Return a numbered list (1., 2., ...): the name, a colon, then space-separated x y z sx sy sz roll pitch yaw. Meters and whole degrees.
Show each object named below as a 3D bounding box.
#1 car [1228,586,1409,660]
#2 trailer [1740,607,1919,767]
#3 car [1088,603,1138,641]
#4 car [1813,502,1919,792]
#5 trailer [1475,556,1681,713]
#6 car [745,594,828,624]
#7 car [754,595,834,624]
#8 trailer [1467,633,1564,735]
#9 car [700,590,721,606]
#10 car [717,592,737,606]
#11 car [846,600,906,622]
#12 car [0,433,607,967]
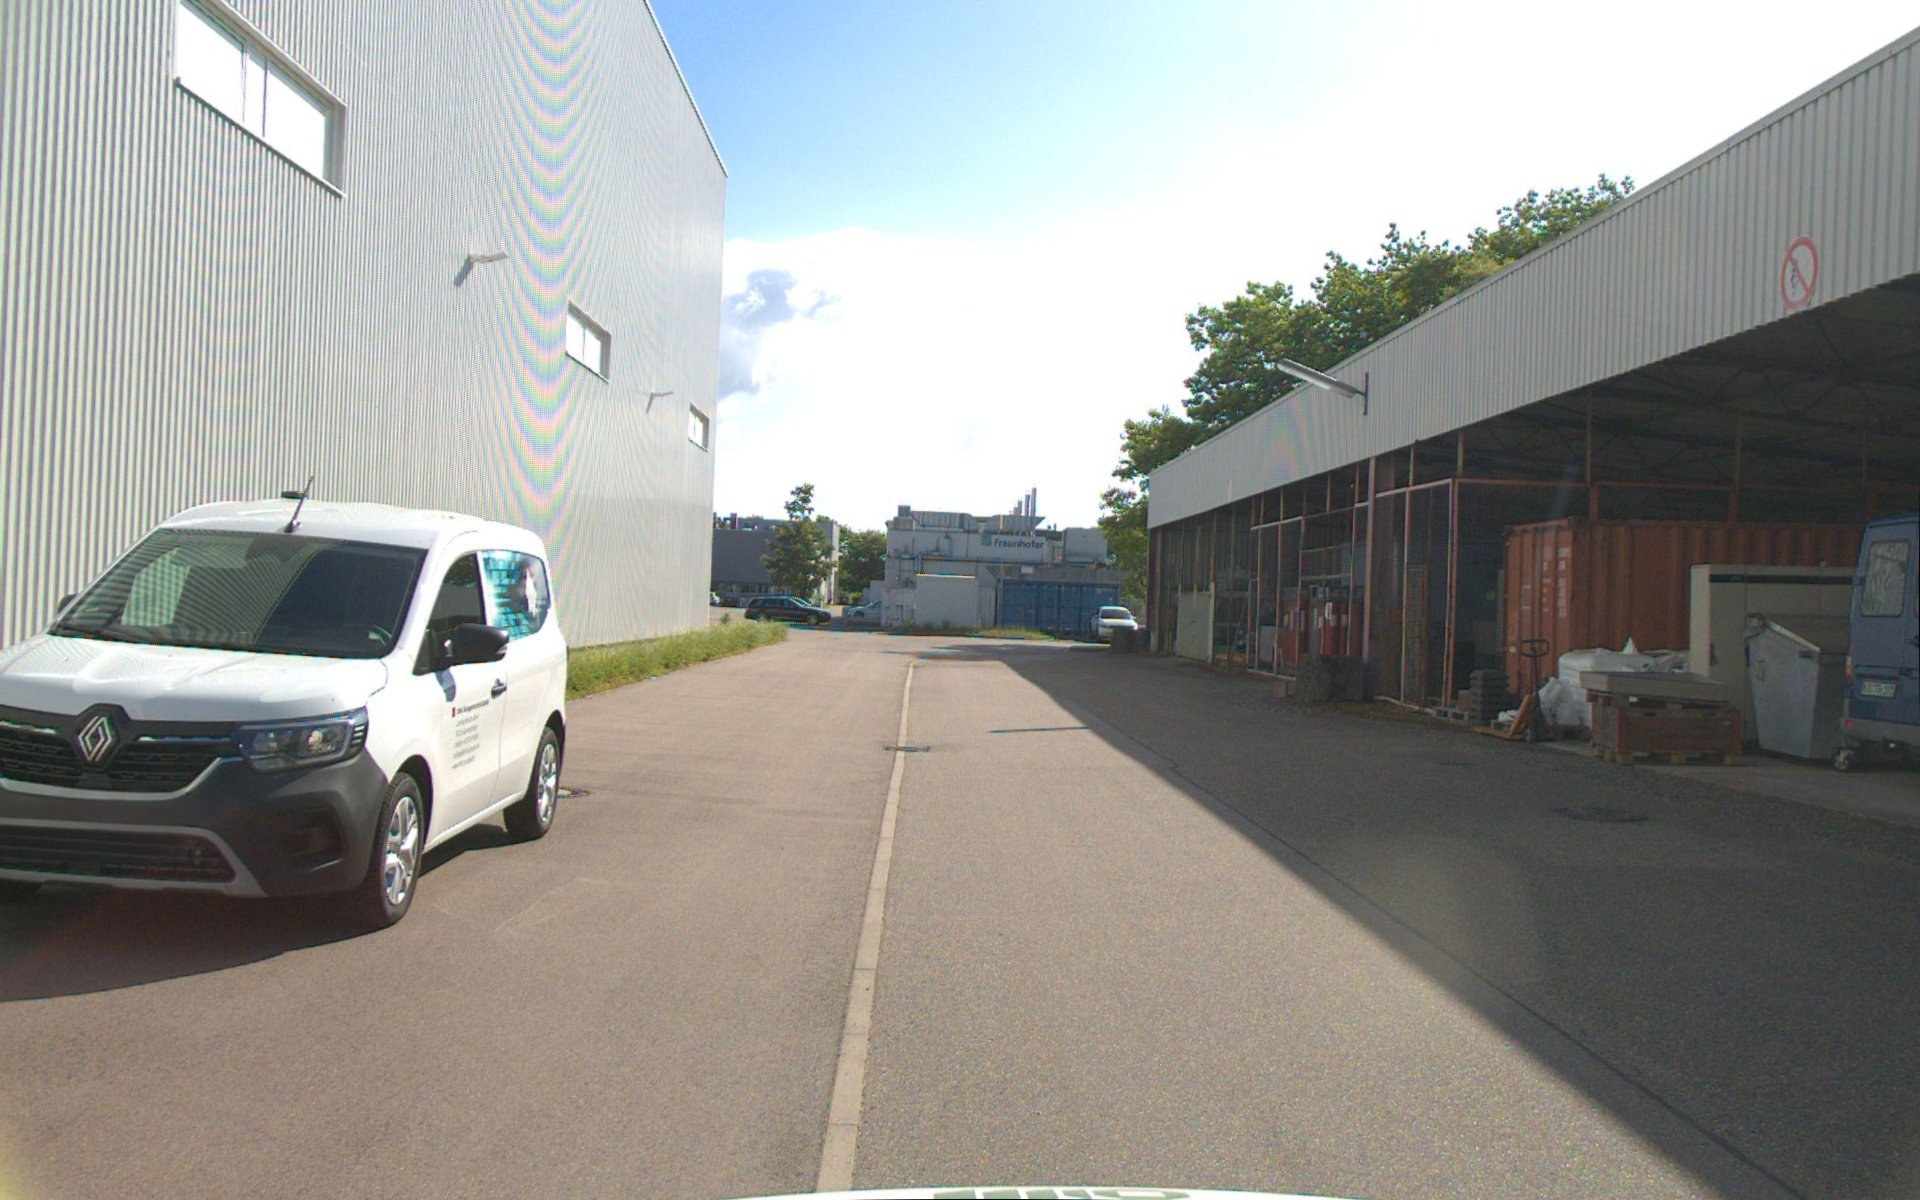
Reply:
1. car: 10.301 0.662 47.665 4.681 1.950 1.995 2 -1 -10
2. trailer: 9.124 0.825 16.407 1.996 1.492 1.739 1 0 3
3. car: 7.195 1.012 78.039 1.939 1.630 4.377 1 1 0
4. car: 10.293 0.442 13.829 5.225 2.321 2.151 1 -1 -2
5. trailer: 9.063 0.485 24.464 1.882 2.181 2.802 1 0 -3
6. car: -9.426 0.479 90.034 4.358 1.558 1.823 1 -1 -2
7. car: -9.376 0.515 93.682 4.358 1.558 1.823 1 -1 -2
8. trailer: 6.511 0.965 19.443 0.541 1.138 1.546 1 -1 -3
9. car: -28.115 -0.171 186.699 1.926 1.742 4.027 1 -1 -3
10. car: -26.043 -0.057 184.921 1.821 1.521 4.027 1 -1 -3
11. car: -5.952 0.795 118.028 4.216 1.483 1.823 1 -1 -2
12. car: -3.128 0.370 8.250 1.748 1.847 4.600 3 -1 -1
